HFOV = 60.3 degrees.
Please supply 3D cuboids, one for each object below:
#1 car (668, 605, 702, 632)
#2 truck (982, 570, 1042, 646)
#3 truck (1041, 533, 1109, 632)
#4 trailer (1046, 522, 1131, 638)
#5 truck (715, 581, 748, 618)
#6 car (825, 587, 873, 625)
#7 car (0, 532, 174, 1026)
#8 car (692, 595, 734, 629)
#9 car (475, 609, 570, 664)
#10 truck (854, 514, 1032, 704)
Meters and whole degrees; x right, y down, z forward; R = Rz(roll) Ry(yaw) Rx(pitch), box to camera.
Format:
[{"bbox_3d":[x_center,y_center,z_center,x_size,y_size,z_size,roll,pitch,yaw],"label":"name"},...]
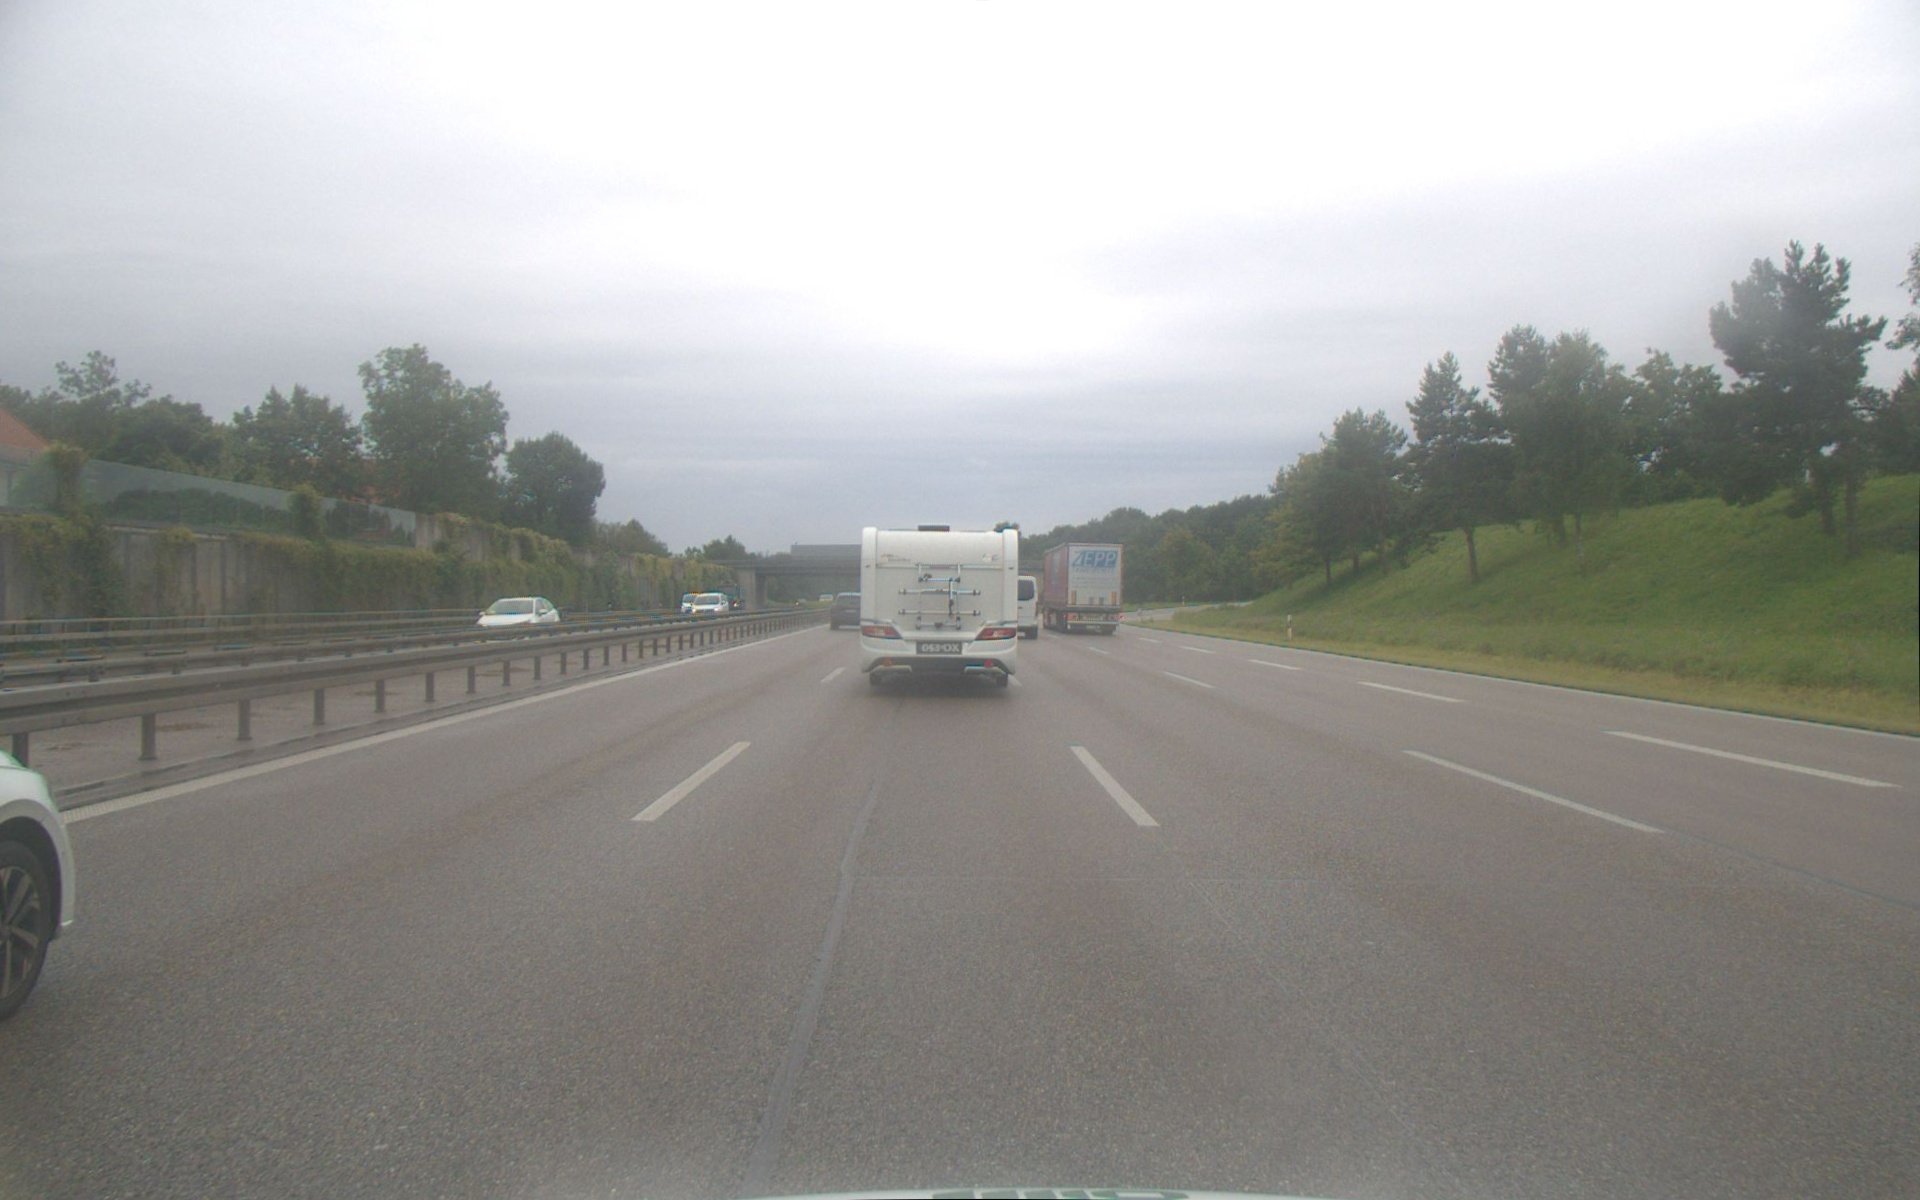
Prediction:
[{"bbox_3d":[-21.878,1.430,131.928,1.953,2.049,4.955,1,0,-1],"label":"car"},{"bbox_3d":[2.022,0.307,65.538,2.012,2.818,5.547,1,0,-1],"label":"truck"},{"bbox_3d":[5.909,-0.858,85.968,2.986,4.924,5.849,1,0,-1],"label":"truck"},{"bbox_3d":[5.945,-0.845,78.409,3.036,5.008,11.789,1,0,0],"label":"trailer"},{"bbox_3d":[-25.001,-0.061,181.036,2.637,3.843,8.333,1,0,-2],"label":"truck"},{"bbox_3d":[-5.007,0.289,75.118,1.953,1.628,5.122,1,0,-1],"label":"car"},{"bbox_3d":[-4.033,0.598,4.421,1.717,1.646,4.662,0,0,-1],"label":"car"},{"bbox_3d":[-13.733,0.657,92.126,1.751,1.782,4.534,1,0,-2],"label":"car"},{"bbox_3d":[-12.992,1.054,49.362,1.569,1.431,4.763,-4,0,-1],"label":"car"},{"bbox_3d":[-0.307,0.145,27.341,2.607,2.790,5.076,1,0,-1],"label":"truck"}]
